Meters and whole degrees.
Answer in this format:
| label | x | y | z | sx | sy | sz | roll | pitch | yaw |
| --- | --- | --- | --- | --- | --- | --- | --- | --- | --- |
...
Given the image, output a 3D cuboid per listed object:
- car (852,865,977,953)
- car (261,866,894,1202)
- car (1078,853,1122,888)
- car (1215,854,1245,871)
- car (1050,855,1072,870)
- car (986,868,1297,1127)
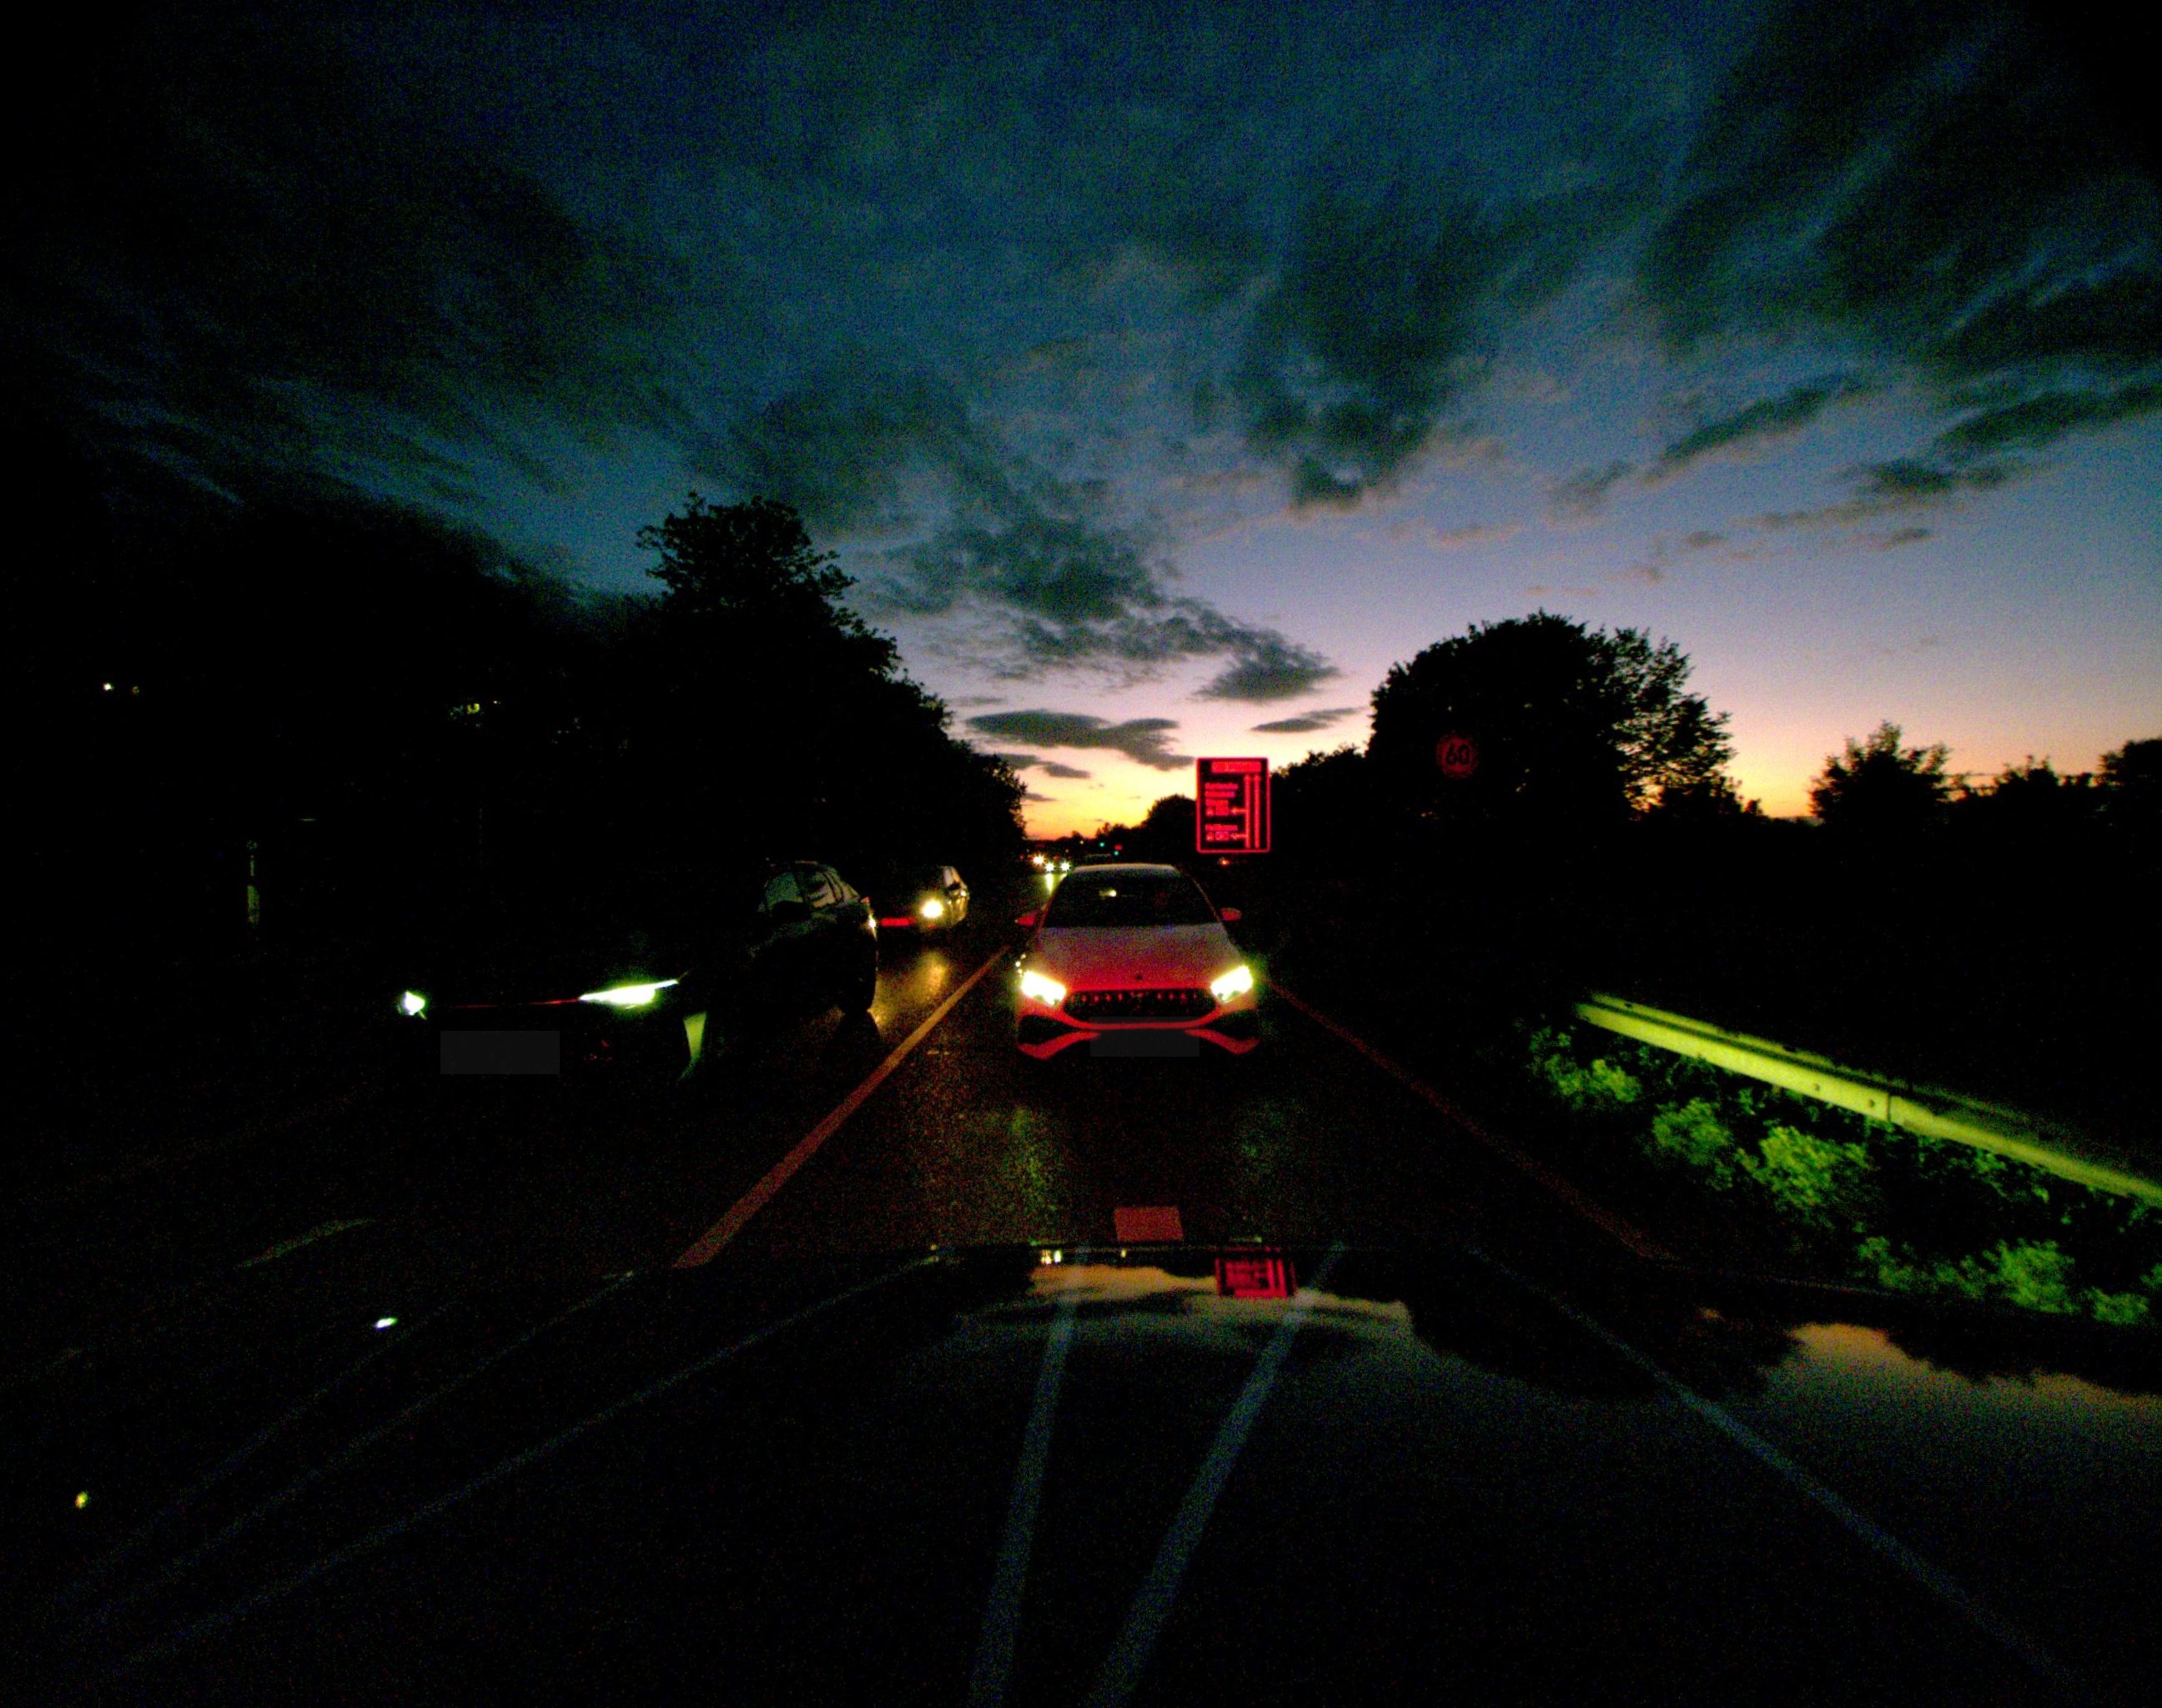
| label | x | y | z | sx | sy | sz | roll | pitch | yaw |
| --- | --- | --- | --- | --- | --- | --- | --- | --- | --- |
| car | -3.253 | 1.014 | 15.582 | 1.624 | 1.460 | 3.871 | -2 | 0 | 1 |
| car | -3.175 | 0.968 | 6.276 | 1.998 | 1.600 | 4.711 | -2 | 0 | 1 |
| car | 0.908 | 0.791 | 38.350 | 1.999 | 1.602 | 4.501 | -1 | 0 | -1 |
| car | 13.872 | 0.789 | 71.035 | 1.998 | 1.510 | 4.297 | -1 | 0 | 1 |
| car | -1.881 | 0.818 | 73.165 | 1.999 | 1.423 | 4.501 | 0 | 0 | -1 |
| car | 0.377 | 0.934 | 6.993 | 1.901 | 1.472 | 4.514 | -2 | 0 | 0 |
